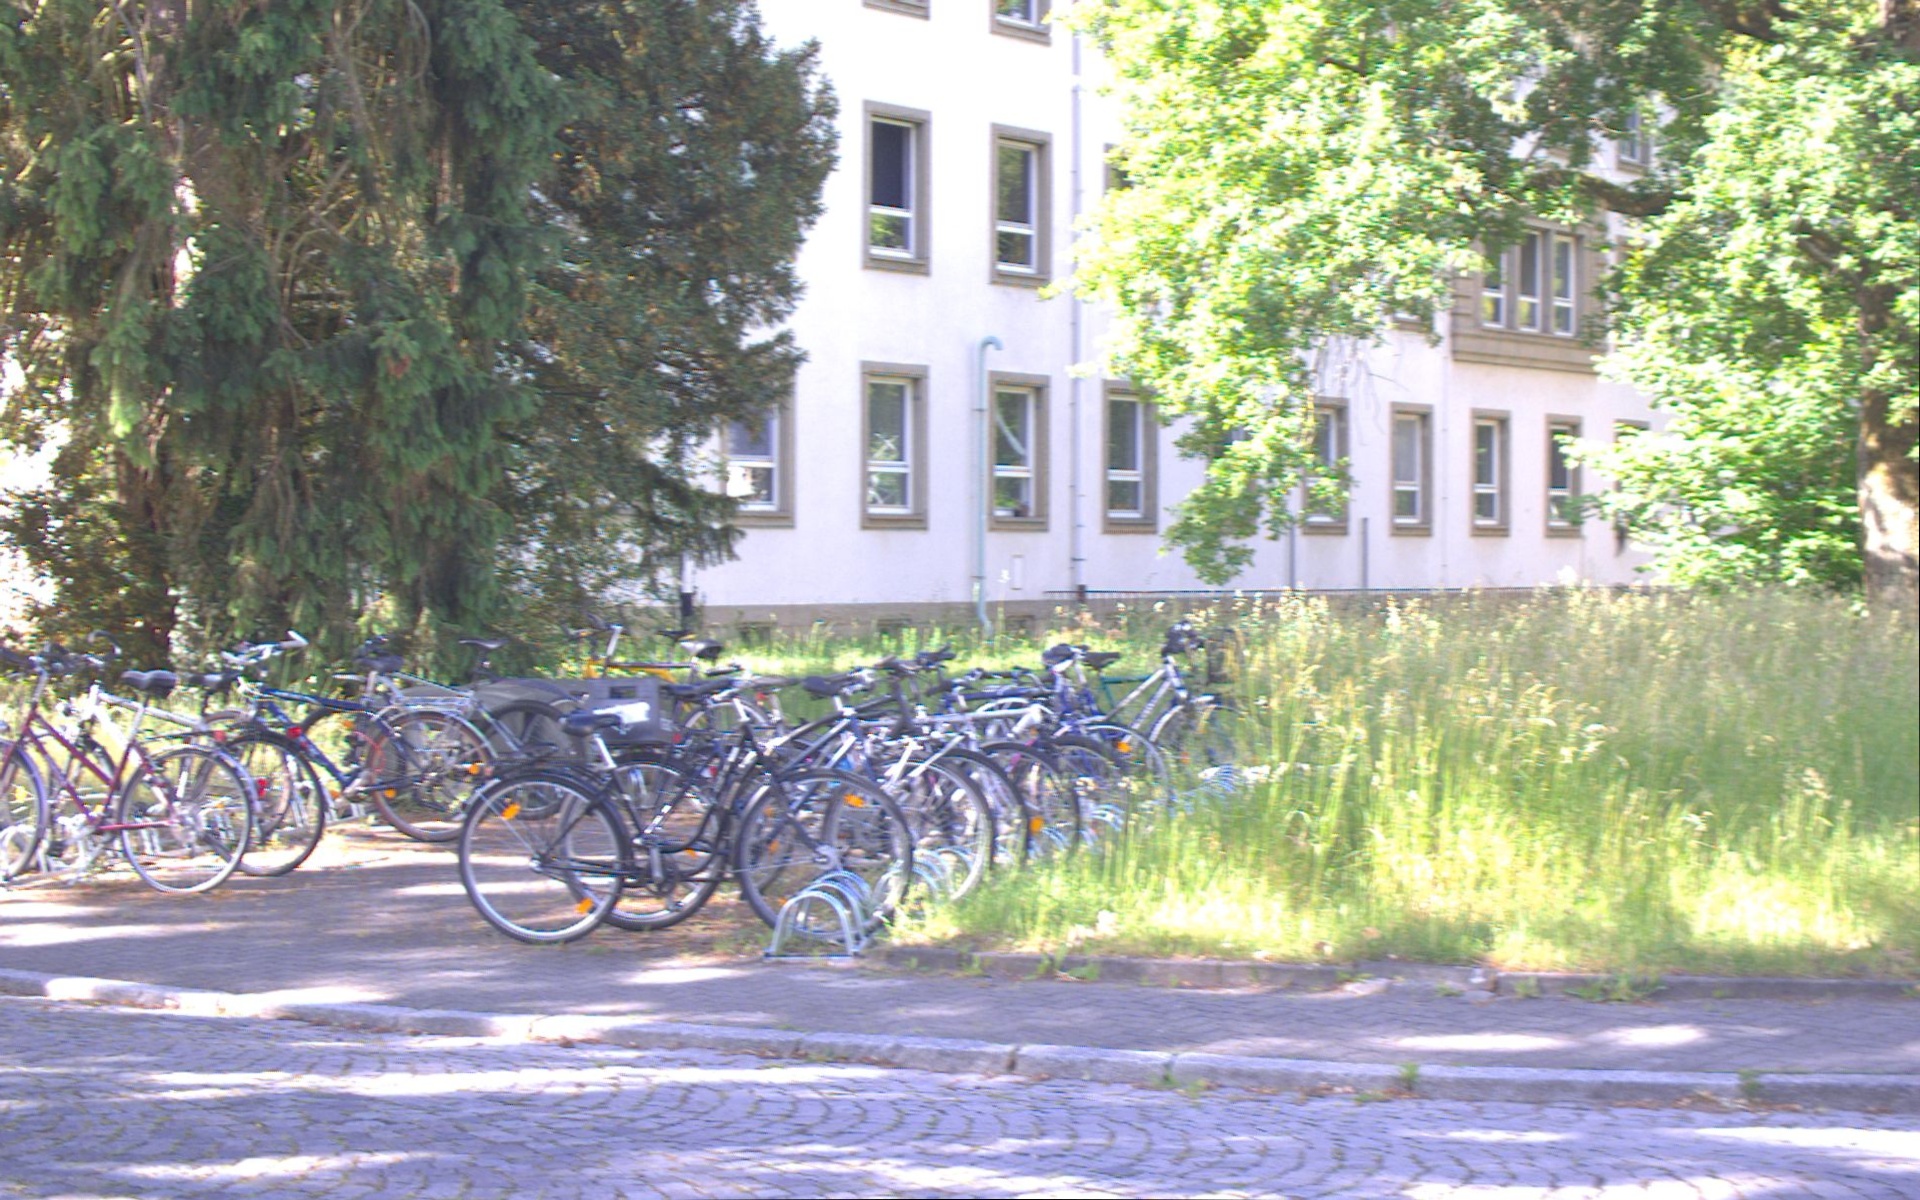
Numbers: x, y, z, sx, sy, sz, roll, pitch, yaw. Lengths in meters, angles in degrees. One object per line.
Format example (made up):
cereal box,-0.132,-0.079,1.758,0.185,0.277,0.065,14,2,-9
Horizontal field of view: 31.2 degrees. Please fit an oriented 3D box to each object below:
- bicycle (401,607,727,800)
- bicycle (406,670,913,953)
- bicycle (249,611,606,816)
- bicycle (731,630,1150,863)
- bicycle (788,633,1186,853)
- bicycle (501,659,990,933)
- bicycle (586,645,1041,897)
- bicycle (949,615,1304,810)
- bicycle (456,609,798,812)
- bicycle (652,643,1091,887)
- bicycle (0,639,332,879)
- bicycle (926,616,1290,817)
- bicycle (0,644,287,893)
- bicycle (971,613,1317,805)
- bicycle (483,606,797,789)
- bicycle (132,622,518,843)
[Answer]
bicycle,-2.422,0.617,21.042,1.914,1.099,0.570,1,2,17
bicycle,-1.180,0.832,13.599,1.913,1.054,0.476,-1,0,7
bicycle,-3.009,0.630,19.490,1.913,1.099,0.570,0,2,8
bicycle,-0.092,0.698,16.389,1.914,1.054,0.475,-1,0,14
bicycle,0.134,0.716,17.230,1.914,1.054,0.475,-1,0,15
bicycle,-0.868,0.798,14.057,1.913,1.054,0.476,-1,0,7
bicycle,-0.644,0.752,15.120,1.914,1.054,0.475,-1,0,14
bicycle,0.938,0.636,19.402,1.914,1.054,0.475,-1,0,15
bicycle,-1.940,0.627,20.048,1.914,1.099,0.570,1,2,17
bicycle,-0.403,0.751,15.641,1.914,1.054,0.475,-1,0,14
bicycle,-4.049,0.752,16.591,1.914,1.099,0.570,0,2,12
bicycle,0.813,0.640,18.916,1.914,1.054,0.475,-1,0,15
bicycle,-4.164,0.772,16.062,1.914,1.099,0.570,0,2,12
bicycle,1.063,0.630,19.853,1.914,1.054,0.475,-1,0,15
bicycle,-2.040,0.609,21.931,1.914,1.099,0.570,1,2,13
bicycle,-3.339,0.685,18.124,1.913,1.099,0.570,0,2,8
